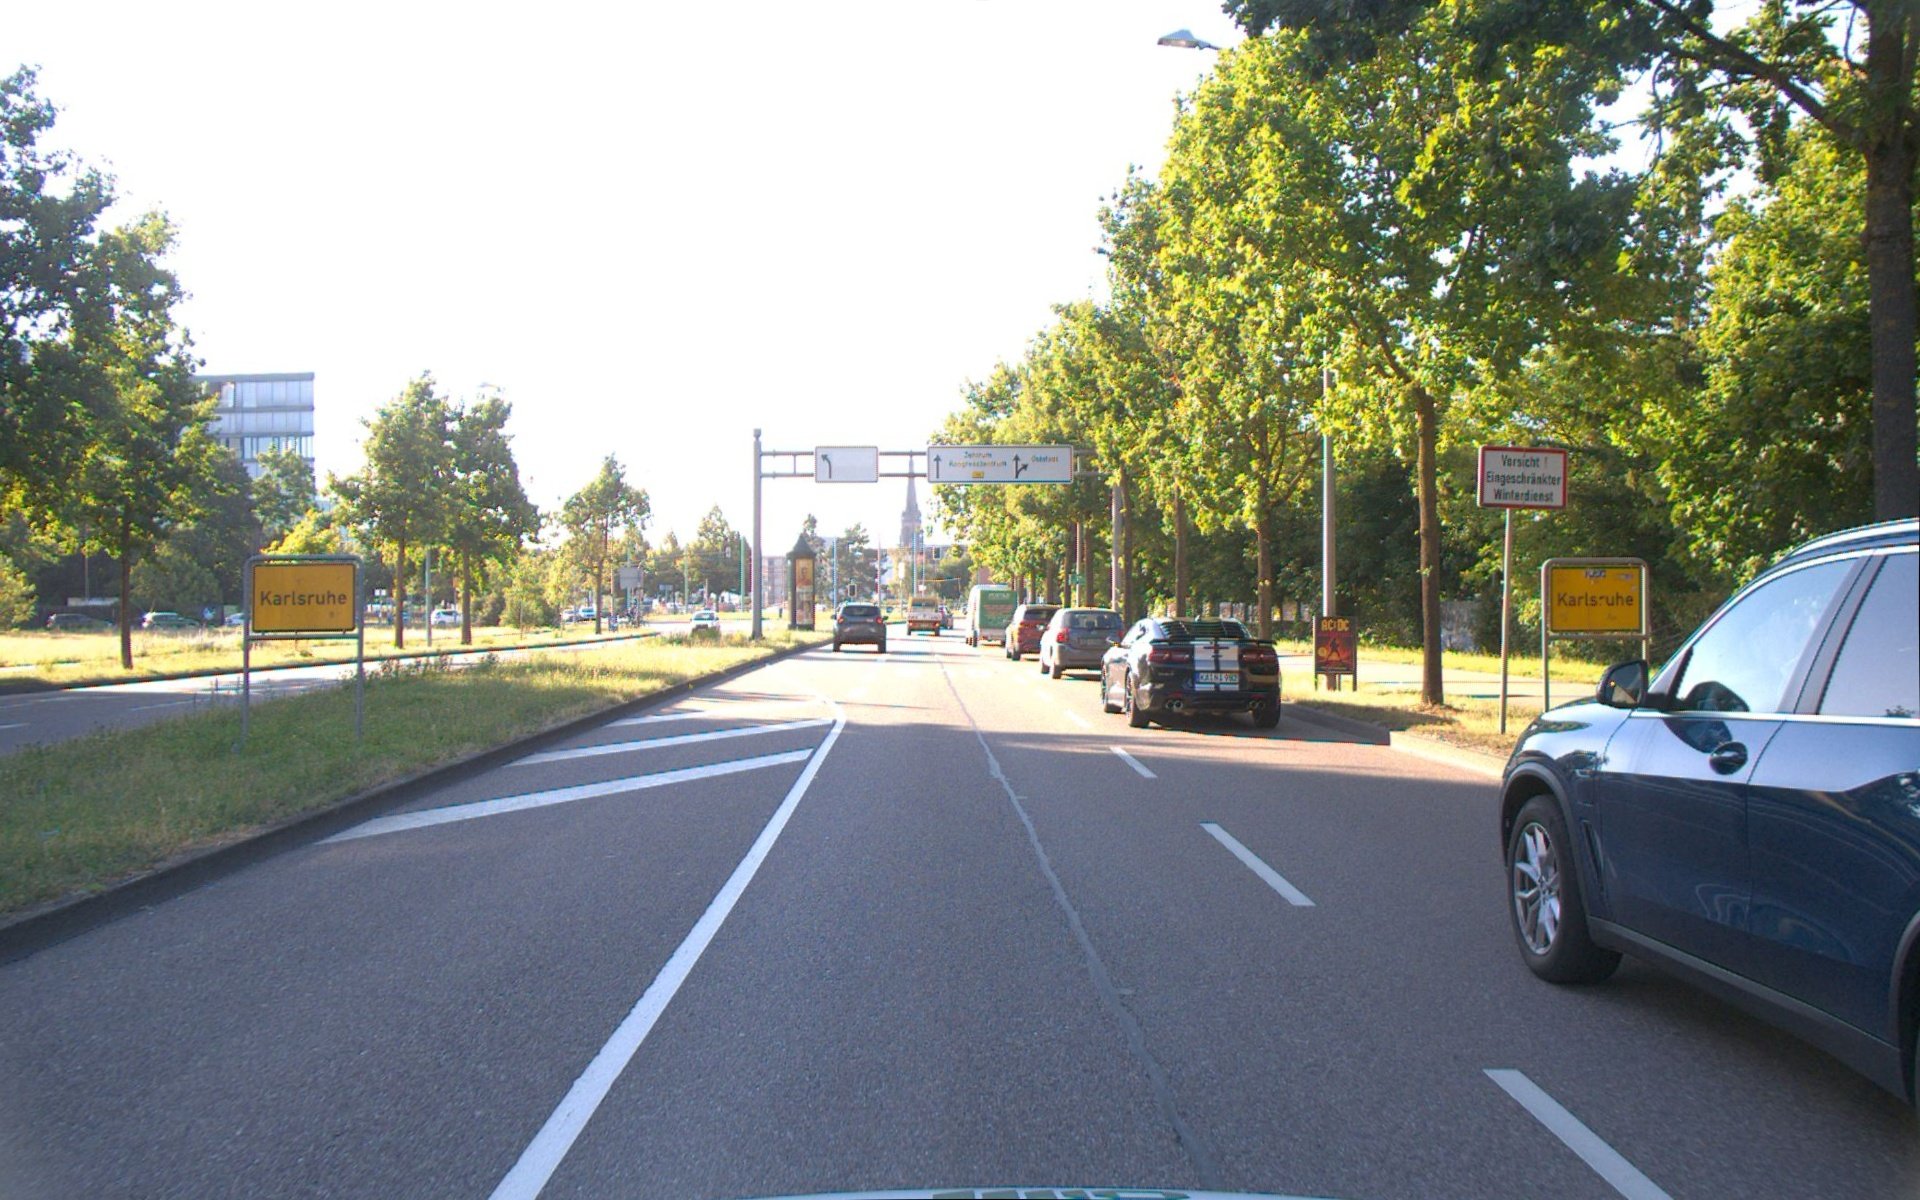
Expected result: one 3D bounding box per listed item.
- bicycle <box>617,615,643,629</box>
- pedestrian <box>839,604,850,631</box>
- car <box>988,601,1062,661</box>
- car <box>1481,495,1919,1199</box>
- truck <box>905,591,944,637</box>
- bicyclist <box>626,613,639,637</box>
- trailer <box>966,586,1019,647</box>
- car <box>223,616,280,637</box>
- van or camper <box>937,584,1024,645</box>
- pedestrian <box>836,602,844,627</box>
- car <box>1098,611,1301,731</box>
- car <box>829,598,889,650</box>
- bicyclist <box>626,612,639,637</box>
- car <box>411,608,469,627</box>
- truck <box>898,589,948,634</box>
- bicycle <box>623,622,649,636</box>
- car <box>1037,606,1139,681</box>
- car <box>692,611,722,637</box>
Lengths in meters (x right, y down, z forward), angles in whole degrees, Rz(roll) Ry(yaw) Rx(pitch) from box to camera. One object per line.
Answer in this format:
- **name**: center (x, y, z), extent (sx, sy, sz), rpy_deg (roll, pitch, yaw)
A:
- **bicycle**: center (-24.798, 1.646, 124.171), extent (1.868, 1.037, 0.505), rpy_deg (1, -1, 14)
- **pedestrian**: center (-8.601, 1.301, 122.721), extent (0.774, 2.049, 0.700), rpy_deg (0, 0, -8)
- **car**: center (1.879, 0.883, 48.870), extent (1.713, 1.649, 3.816), rpy_deg (1, 0, -4)
- **car**: center (3.344, 0.637, 5.151), extent (1.915, 1.757, 4.698), rpy_deg (1, -1, -1)
- **truck**: center (-2.168, 0.820, 100.214), extent (2.175, 2.697, 4.770), rpy_deg (0, 0, -3)
- **bicyclist**: center (-24.577, 1.872, 124.118), extent (0.795, 1.801, 0.497), rpy_deg (1, 0, 13)
- **trailer**: center (1.334, 0.680, 69.635), extent (2.048, 2.442, 3.500), rpy_deg (1, 0, -1)
- **car**: center (-54.789, 2.065, 127.964), extent (3.681, 1.534, 1.845), rpy_deg (-1, 0, -45)
- **van or camper**: center (0.861, 0.618, 75.563), extent (2.247, 2.675, 6.556), rpy_deg (1, 0, -15)
- **pedestrian**: center (-8.886, 1.081, 122.366), extent (0.476, 1.876, 0.719), rpy_deg (-1, -1, 2)
- **car**: center (2.990, 0.841, 21.599), extent (1.817, 1.361, 4.623), rpy_deg (0, 0, -2)
- **car**: center (-3.478, 0.798, 56.244), extent (1.868, 1.689, 3.995), rpy_deg (0, 0, -6)
- **bicyclist**: center (-24.818, 1.847, 125.310), extent (0.796, 1.820, 0.496), rpy_deg (1, 0, 6)
- **car**: center (-43.700, 1.477, 139.102), extent (4.276, 1.534, 1.845), rpy_deg (-1, 0, -45)
- **truck**: center (-2.302, 0.669, 100.670), extent (2.531, 2.602, 6.243), rpy_deg (-1, 0, -6)
- **bicycle**: center (-24.565, 2.199, 125.293), extent (1.868, 1.037, 0.505), rpy_deg (1, -1, 5)
- **car**: center (2.705, 0.891, 35.675), extent (1.712, 1.499, 3.817), rpy_deg (-1, 0, -3)
- **car**: center (-15.717, 1.474, 102.912), extent (1.531, 1.602, 3.409), rpy_deg (0, 0, -4)
